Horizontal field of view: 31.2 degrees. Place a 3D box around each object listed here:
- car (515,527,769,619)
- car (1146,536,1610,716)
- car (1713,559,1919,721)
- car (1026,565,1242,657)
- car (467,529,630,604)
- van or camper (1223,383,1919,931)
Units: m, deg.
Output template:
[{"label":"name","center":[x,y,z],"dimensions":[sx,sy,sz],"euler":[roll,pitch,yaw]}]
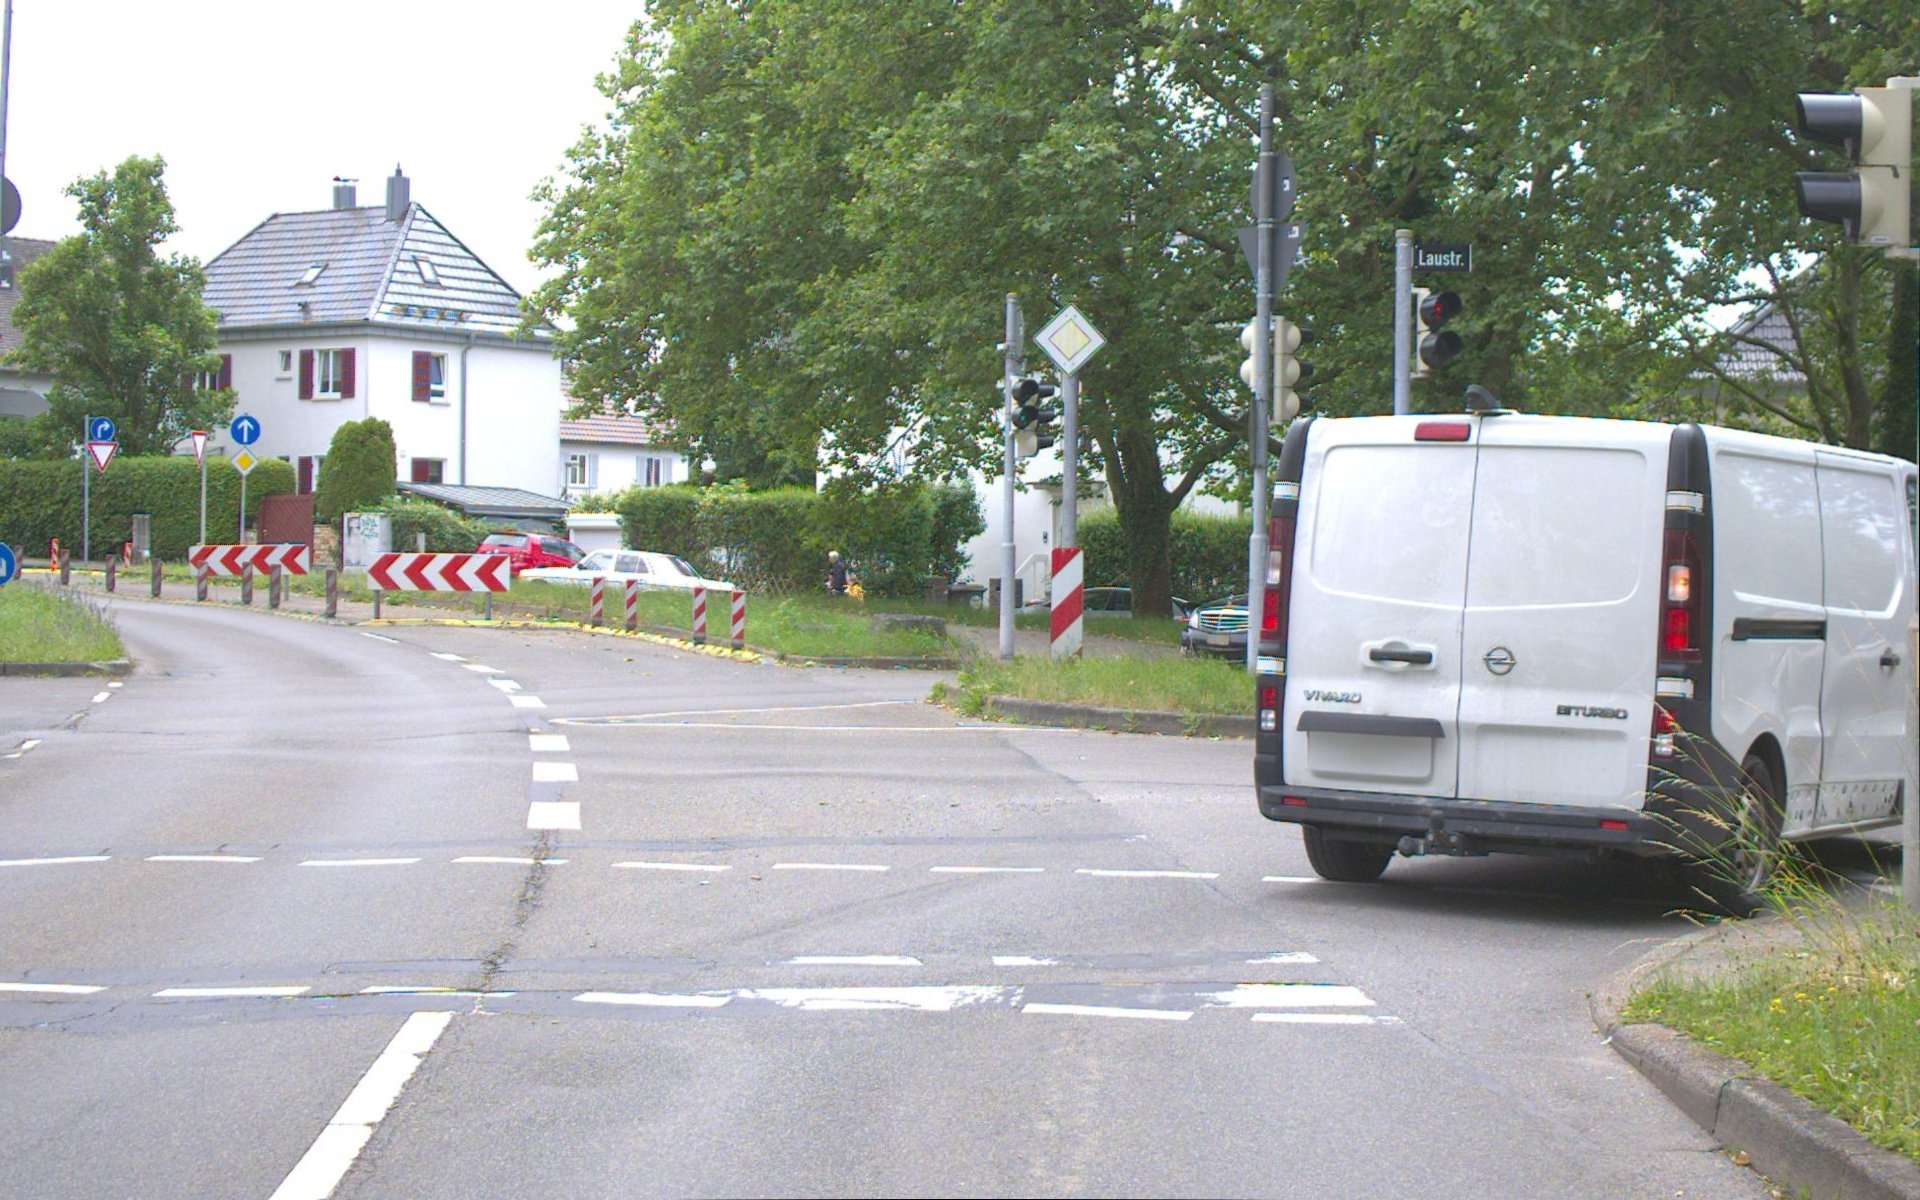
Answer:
[{"label":"car","center":[-6.732,-0.584,72.756],"dimensions":[4.874,1.785,2.213],"euler":[2,1,25]},{"label":"car","center":[4.146,0.265,33.799],"dimensions":[4.372,1.512,1.763],"euler":[4,-1,-34]},{"label":"car","center":[10.750,0.432,37.975],"dimensions":[4.891,1.652,1.857],"euler":[1,1,-34]},{"label":"car","center":[3.490,0.205,68.755],"dimensions":[3.987,1.509,1.661],"euler":[5,2,14]},{"label":"car","center":[-9.574,-0.778,80.207],"dimensions":[1.608,1.512,3.817],"euler":[3,-1,33]},{"label":"van or camper","center":[3.084,0.176,15.162],"dimensions":[1.927,2.007,4.821],"euler":[2,1,29]}]
